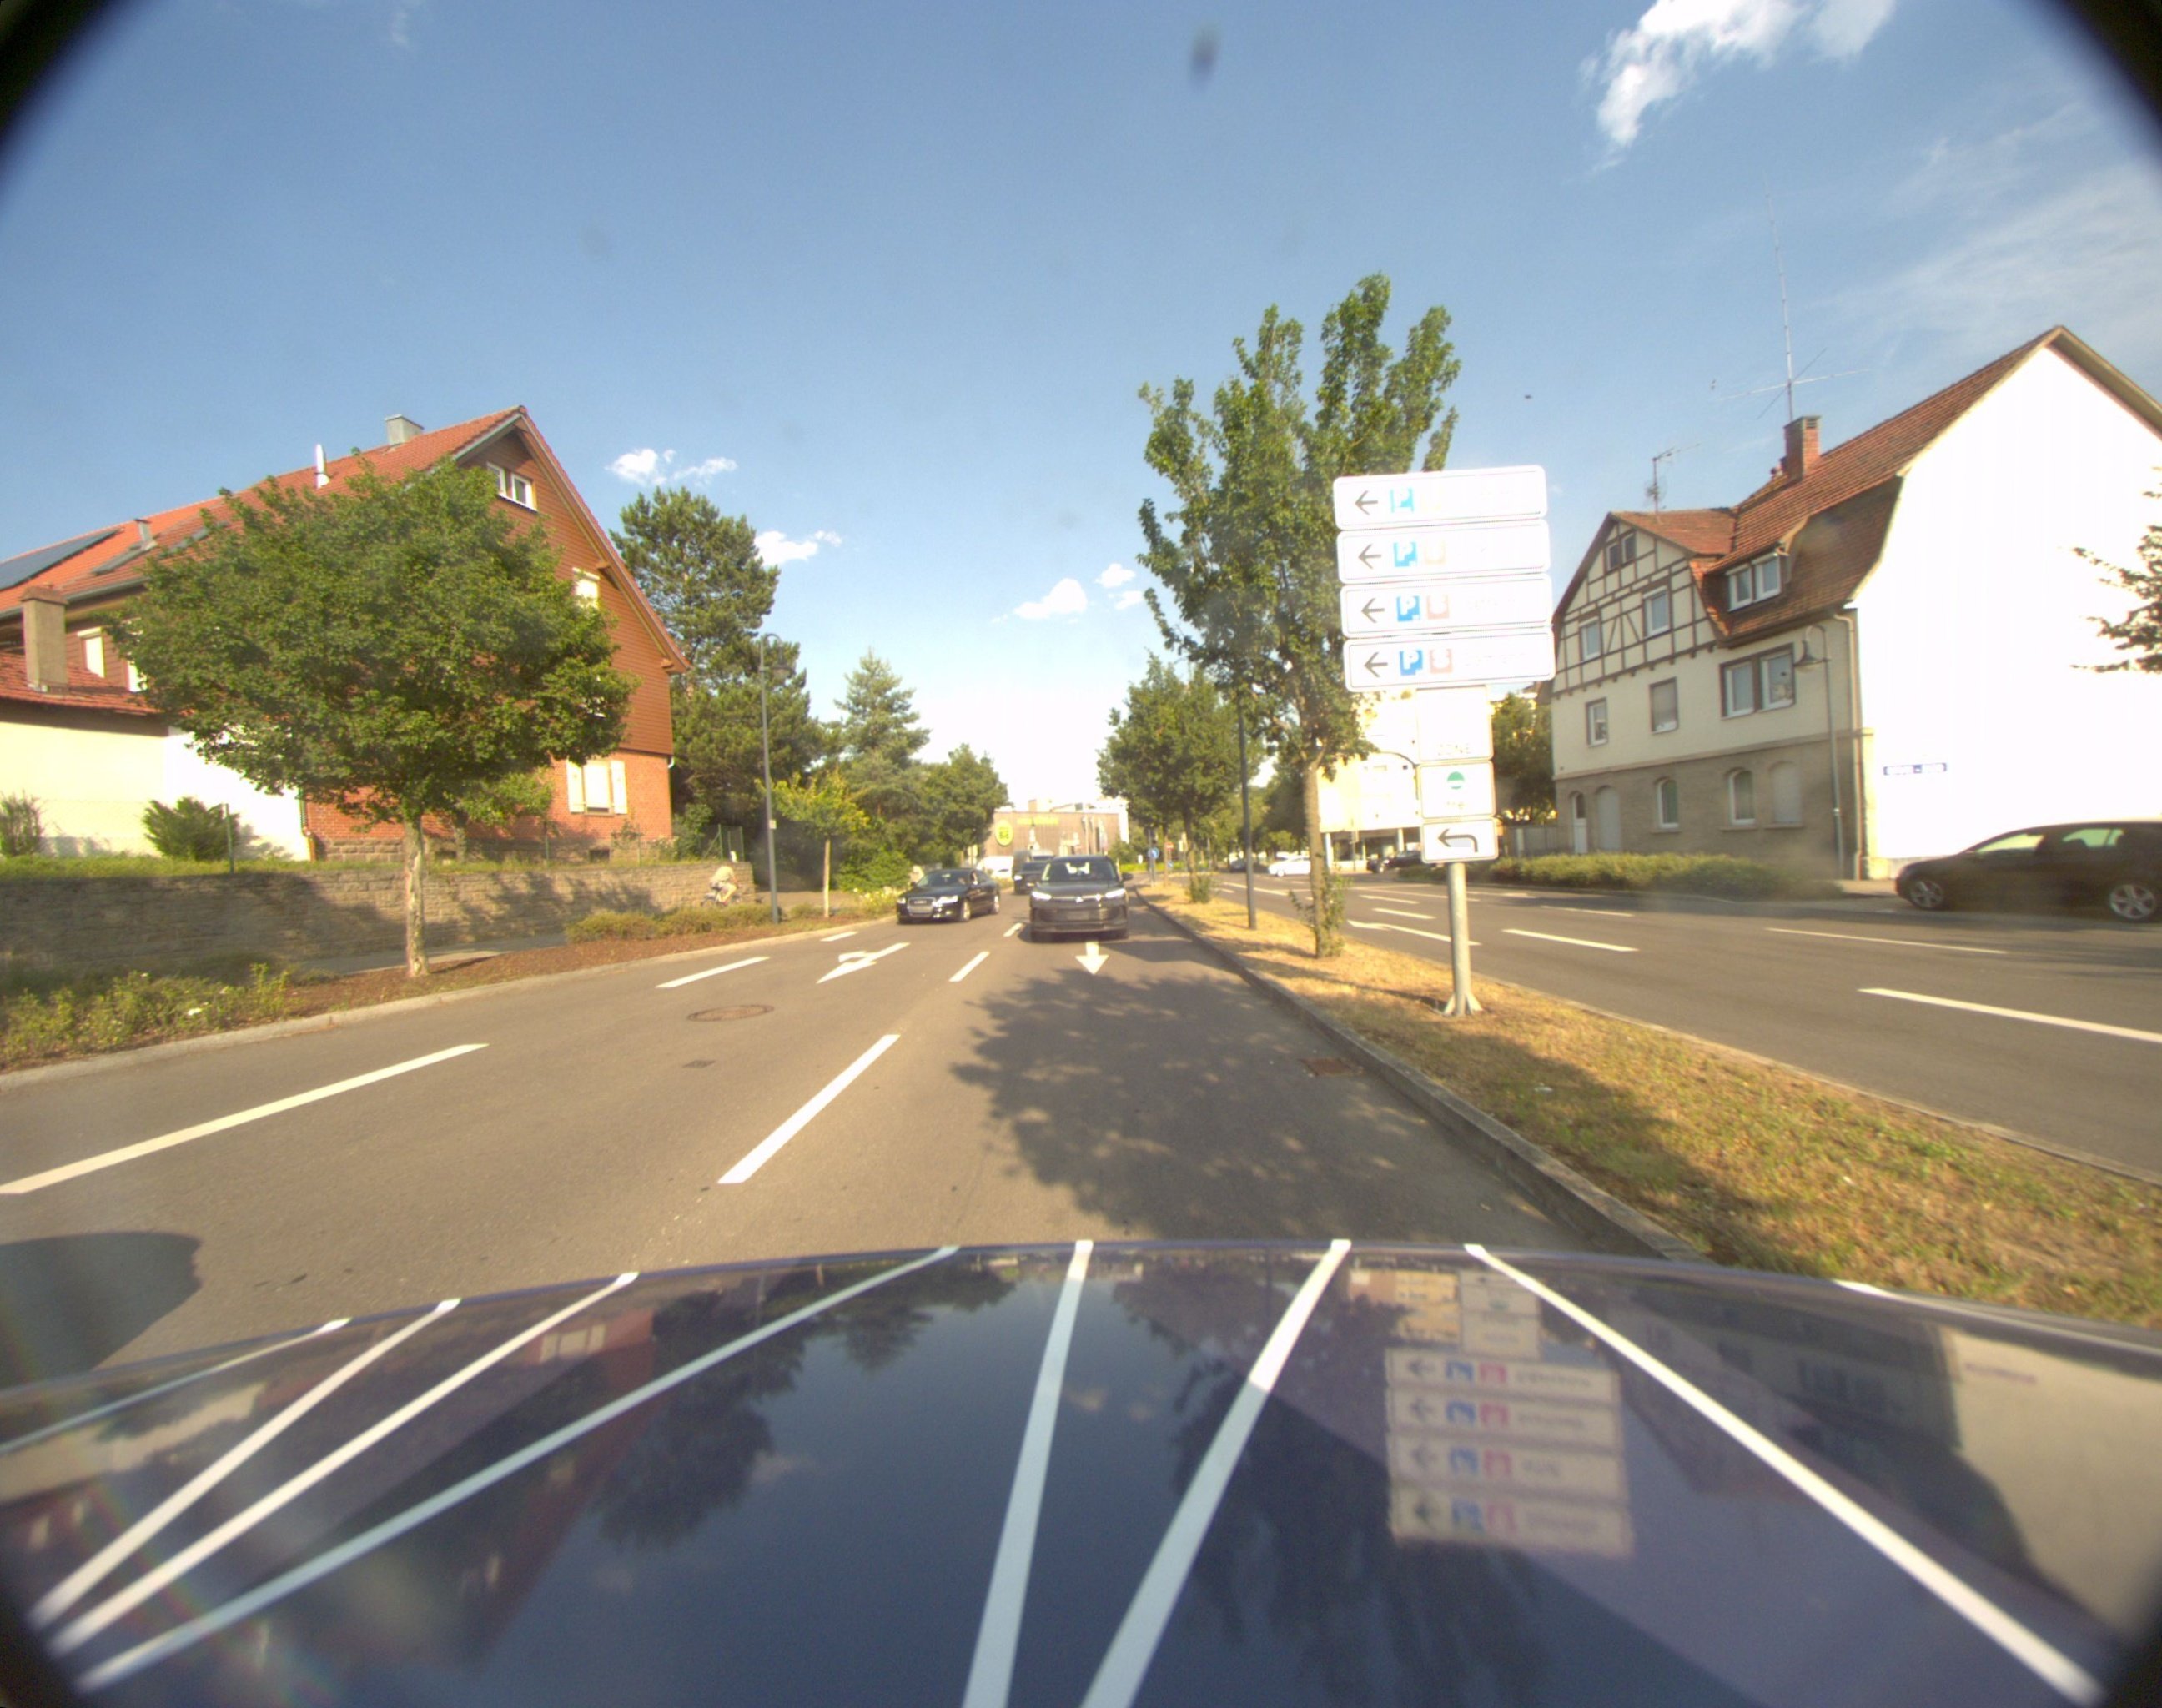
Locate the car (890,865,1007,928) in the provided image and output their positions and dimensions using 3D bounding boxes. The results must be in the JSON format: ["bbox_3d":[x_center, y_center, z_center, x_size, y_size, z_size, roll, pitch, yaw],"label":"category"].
[{"bbox_3d":[-3.575,1.116,21.388,1.684,1.427,4.593,-2,0,11],"label":"car"}]

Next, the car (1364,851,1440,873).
[{"bbox_3d":[22.669,0.576,53.778,4.661,1.346,1.768,-3,1,8],"label":"car"}]

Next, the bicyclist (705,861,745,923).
[{"bbox_3d":[-9.952,1.052,21.263,0.603,1.668,0.735,-2,1,13],"label":"bicyclist"}]

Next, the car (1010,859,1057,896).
[{"bbox_3d":[-2.269,1.091,37.177,1.886,1.599,4.127,-2,0,1],"label":"car"}]

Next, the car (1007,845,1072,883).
[{"bbox_3d":[-3.092,0.732,55.288,2.375,2.532,6.180,-3,0,-26],"label":"car"}]

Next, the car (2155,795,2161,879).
[{"bbox_3d":[22.935,-0.451,15.056,4.006,1.543,1.764,-5,1,-34],"label":"car"}]

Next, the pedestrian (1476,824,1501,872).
[{"bbox_3d":[17.156,-0.249,31.991,0.699,1.971,0.588,-3,1,2],"label":"pedestrian"}]

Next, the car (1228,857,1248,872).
[{"bbox_3d":[16.145,1.050,77.974,1.764,1.346,4.166,-2,0,14],"label":"car"}]

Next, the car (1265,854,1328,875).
[{"bbox_3d":[15.633,0.766,55.199,4.126,1.346,1.768,-3,1,6],"label":"car"}]

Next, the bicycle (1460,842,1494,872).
[{"bbox_3d":[17.194,0.119,32.981,0.681,1.215,1.514,-3,1,2],"label":"bicycle"}]

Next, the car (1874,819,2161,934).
[{"bbox_3d":[15.619,0.277,11.932,1.839,1.435,4.194,-6,0,0],"label":"car"}]

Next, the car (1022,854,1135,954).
[{"bbox_3d":[-0.013,0.874,15.585,1.894,1.647,4.729,-2,0,1],"label":"car"}]

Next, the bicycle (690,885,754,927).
[{"bbox_3d":[-9.964,1.429,21.161,0.522,1.012,1.877,-2,0,13],"label":"bicycle"}]
